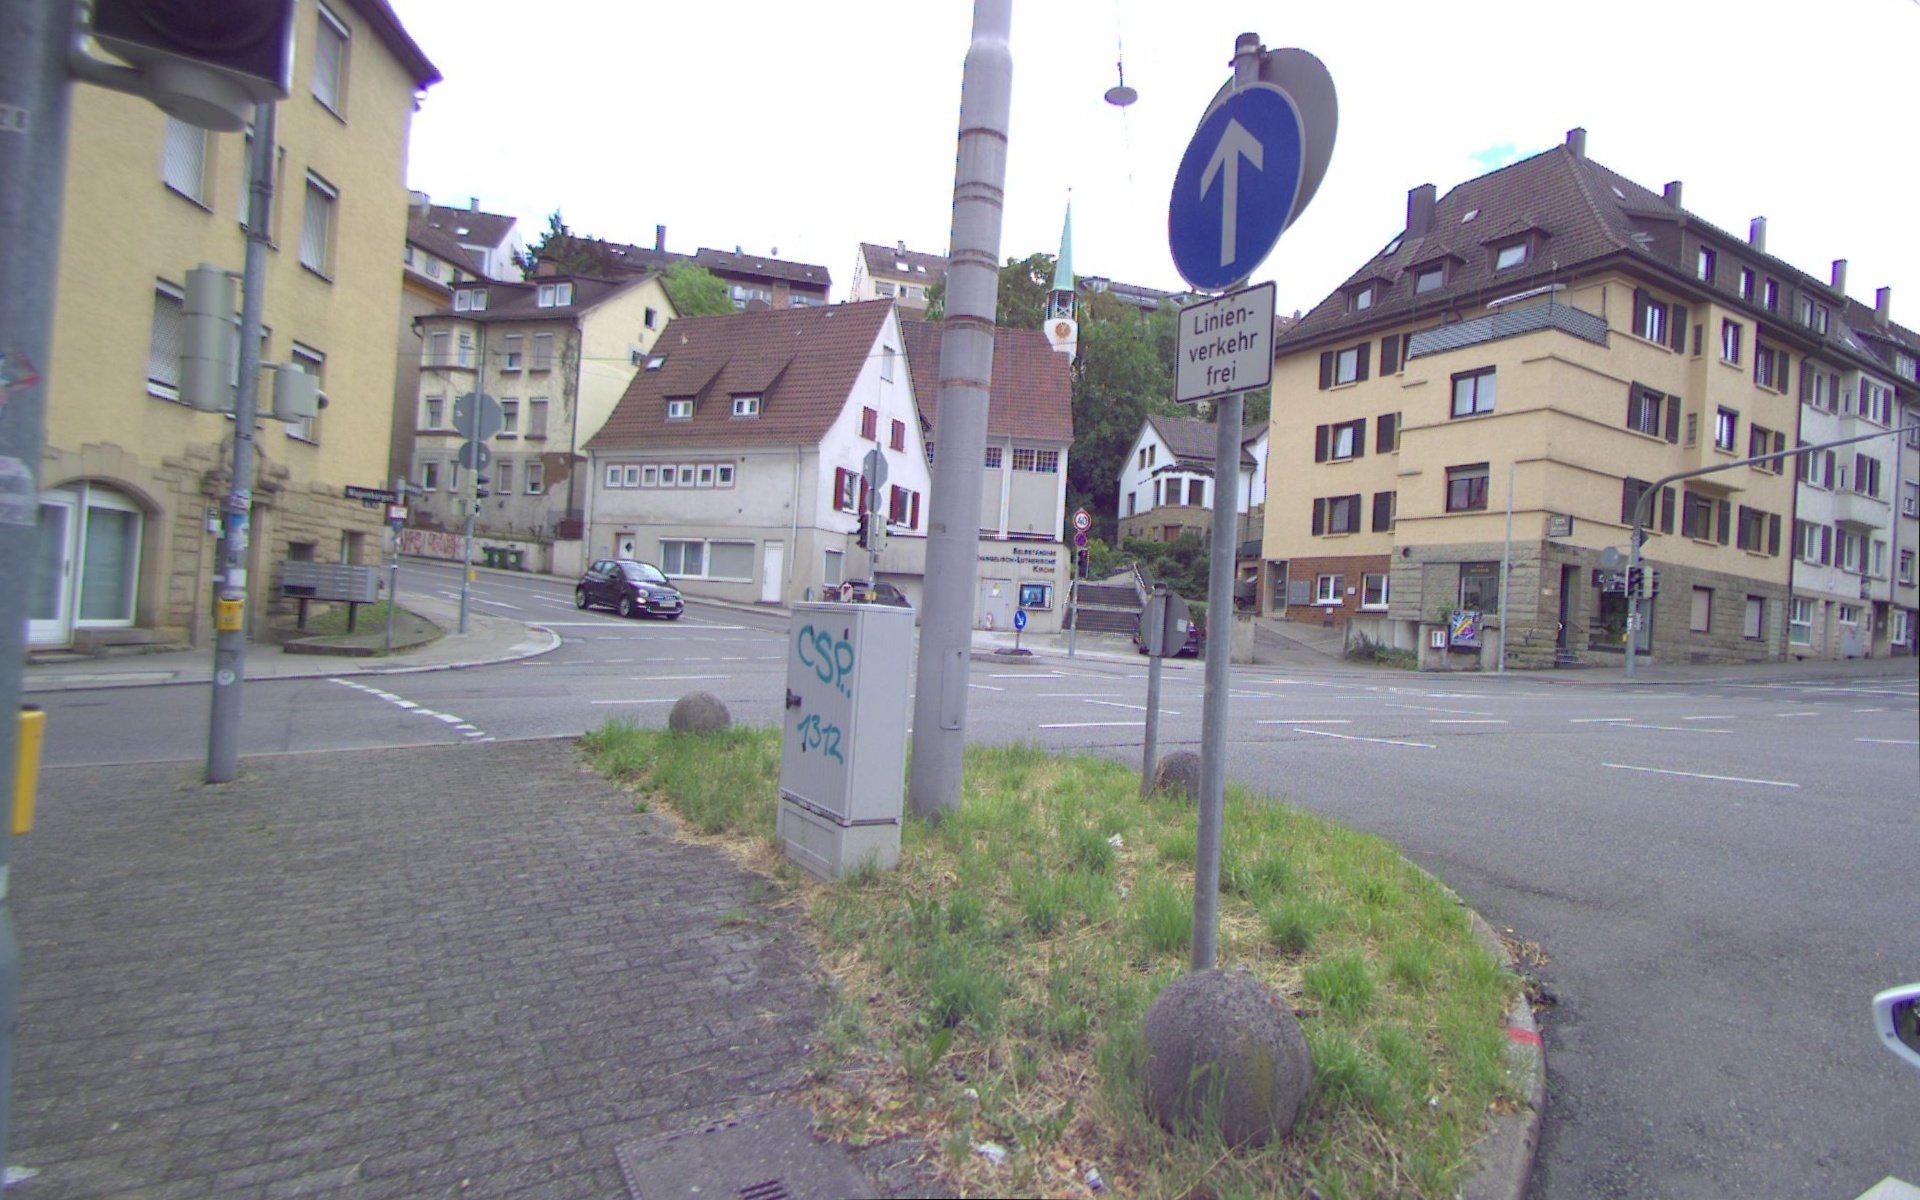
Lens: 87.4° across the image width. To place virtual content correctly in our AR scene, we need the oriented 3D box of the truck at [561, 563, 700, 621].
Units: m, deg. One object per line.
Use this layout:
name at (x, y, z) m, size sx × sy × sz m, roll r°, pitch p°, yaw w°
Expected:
truck at (-9.195, -0.238, 27.937) m, size 3.939 × 1.437 × 1.844 m, roll 3°, pitch 2°, yaw 39°

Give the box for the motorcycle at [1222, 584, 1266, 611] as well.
motorcycle at (12.714, -0.119, 44.918) m, size 2.021 × 1.149 × 0.556 m, roll 2°, pitch 2°, yaw -29°

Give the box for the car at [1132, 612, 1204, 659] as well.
car at (6.691, 1.098, 32.643) m, size 1.799 × 1.205 × 4.001 m, roll 3°, pitch 1°, yaw 5°

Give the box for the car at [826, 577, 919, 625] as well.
car at (-3.092, 0.015, 36.300) m, size 1.649 × 1.485 × 4.300 m, roll 7°, pitch 2°, yaw 19°
